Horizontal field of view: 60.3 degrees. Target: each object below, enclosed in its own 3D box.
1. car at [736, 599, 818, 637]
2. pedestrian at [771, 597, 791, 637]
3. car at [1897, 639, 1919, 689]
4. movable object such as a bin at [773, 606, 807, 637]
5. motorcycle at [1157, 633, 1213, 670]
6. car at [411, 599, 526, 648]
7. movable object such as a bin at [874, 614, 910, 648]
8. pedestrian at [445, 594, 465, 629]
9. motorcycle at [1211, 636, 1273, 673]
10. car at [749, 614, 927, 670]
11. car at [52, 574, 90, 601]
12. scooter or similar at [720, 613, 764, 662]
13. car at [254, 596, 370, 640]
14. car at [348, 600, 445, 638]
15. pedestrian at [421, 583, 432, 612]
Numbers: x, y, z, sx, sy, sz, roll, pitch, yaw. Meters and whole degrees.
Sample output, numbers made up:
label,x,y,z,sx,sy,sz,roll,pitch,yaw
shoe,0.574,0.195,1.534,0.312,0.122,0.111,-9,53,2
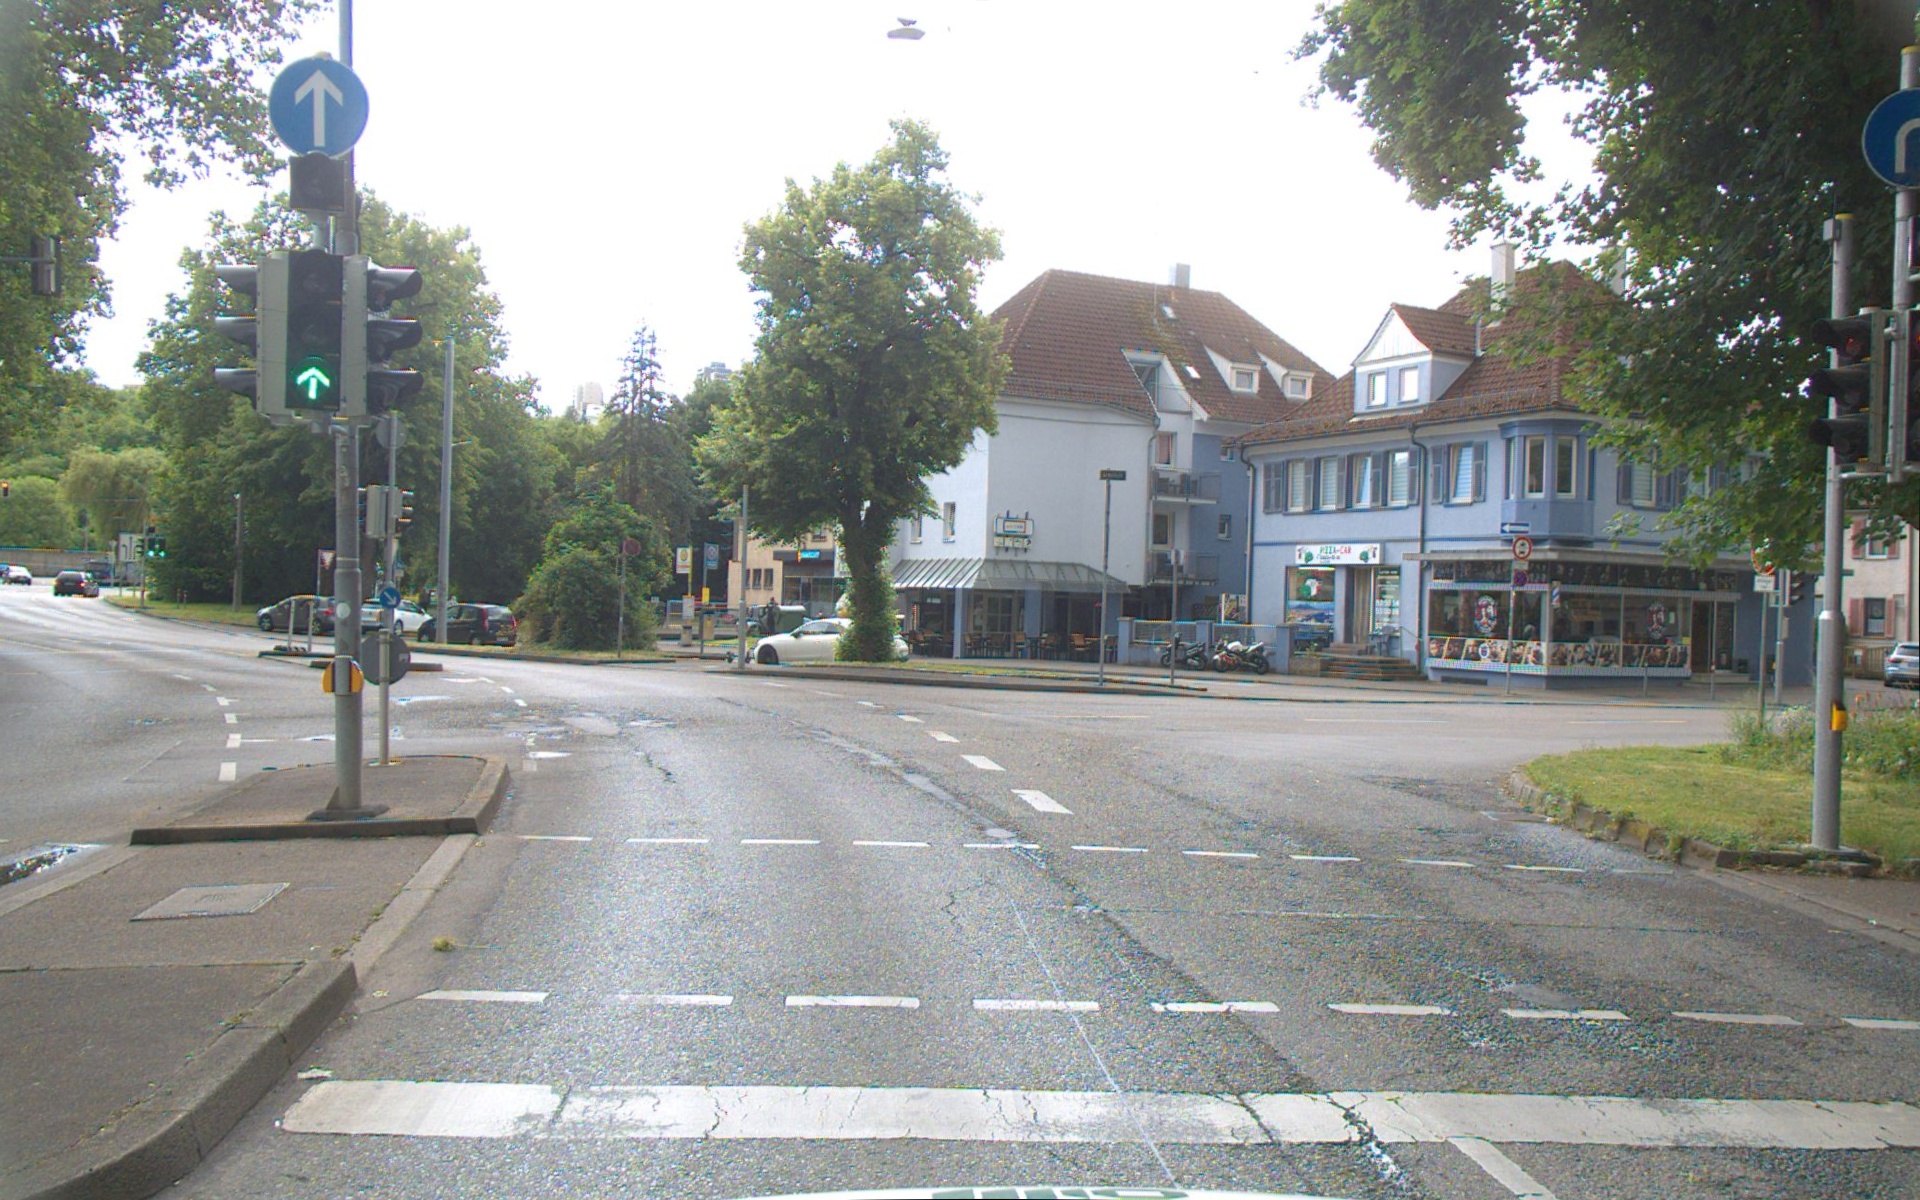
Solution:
label,x,y,z,sx,sy,sz,roll,pitch,yaw
car,-8.360,0.833,75.575,3.371,1.659,1.611,2,-1,-26
pedestrian,-8.065,0.768,74.392,0.680,1.760,0.605,1,-1,-32
car,29.961,1.989,51.267,1.537,1.488,3.433,1,-1,29
movable object such as a bin,-7.586,0.960,73.741,1.204,1.368,0.984,1,-1,-32
motorcycle,6.821,1.552,50.191,1.695,1.049,0.487,1,-1,43
car,-15.875,0.751,53.408,3.416,1.428,1.571,2,0,28
movable object such as a bin,-2.886,1.304,70.331,1.197,1.420,1.153,1,-1,-22
pedestrian,-23.432,0.522,76.672,0.677,1.578,0.734,2,0,-32
motorcycle,8.245,1.579,48.355,1.791,1.003,0.518,1,-1,43
car,-3.382,1.138,45.550,4.689,1.411,1.994,1,-1,34
car,-53.652,-0.751,99.745,1.804,1.536,4.526,1,-1,-31
scooter or similar,-5.587,0.972,42.525,0.403,1.187,1.361,1,-3,25
car,-24.994,0.672,63.825,4.016,1.454,1.733,3,0,21
car,-22.624,0.763,66.591,1.721,1.405,4.265,2,0,11
pedestrian,-29.688,-0.136,92.011,0.503,1.558,0.772,2,-1,-23
